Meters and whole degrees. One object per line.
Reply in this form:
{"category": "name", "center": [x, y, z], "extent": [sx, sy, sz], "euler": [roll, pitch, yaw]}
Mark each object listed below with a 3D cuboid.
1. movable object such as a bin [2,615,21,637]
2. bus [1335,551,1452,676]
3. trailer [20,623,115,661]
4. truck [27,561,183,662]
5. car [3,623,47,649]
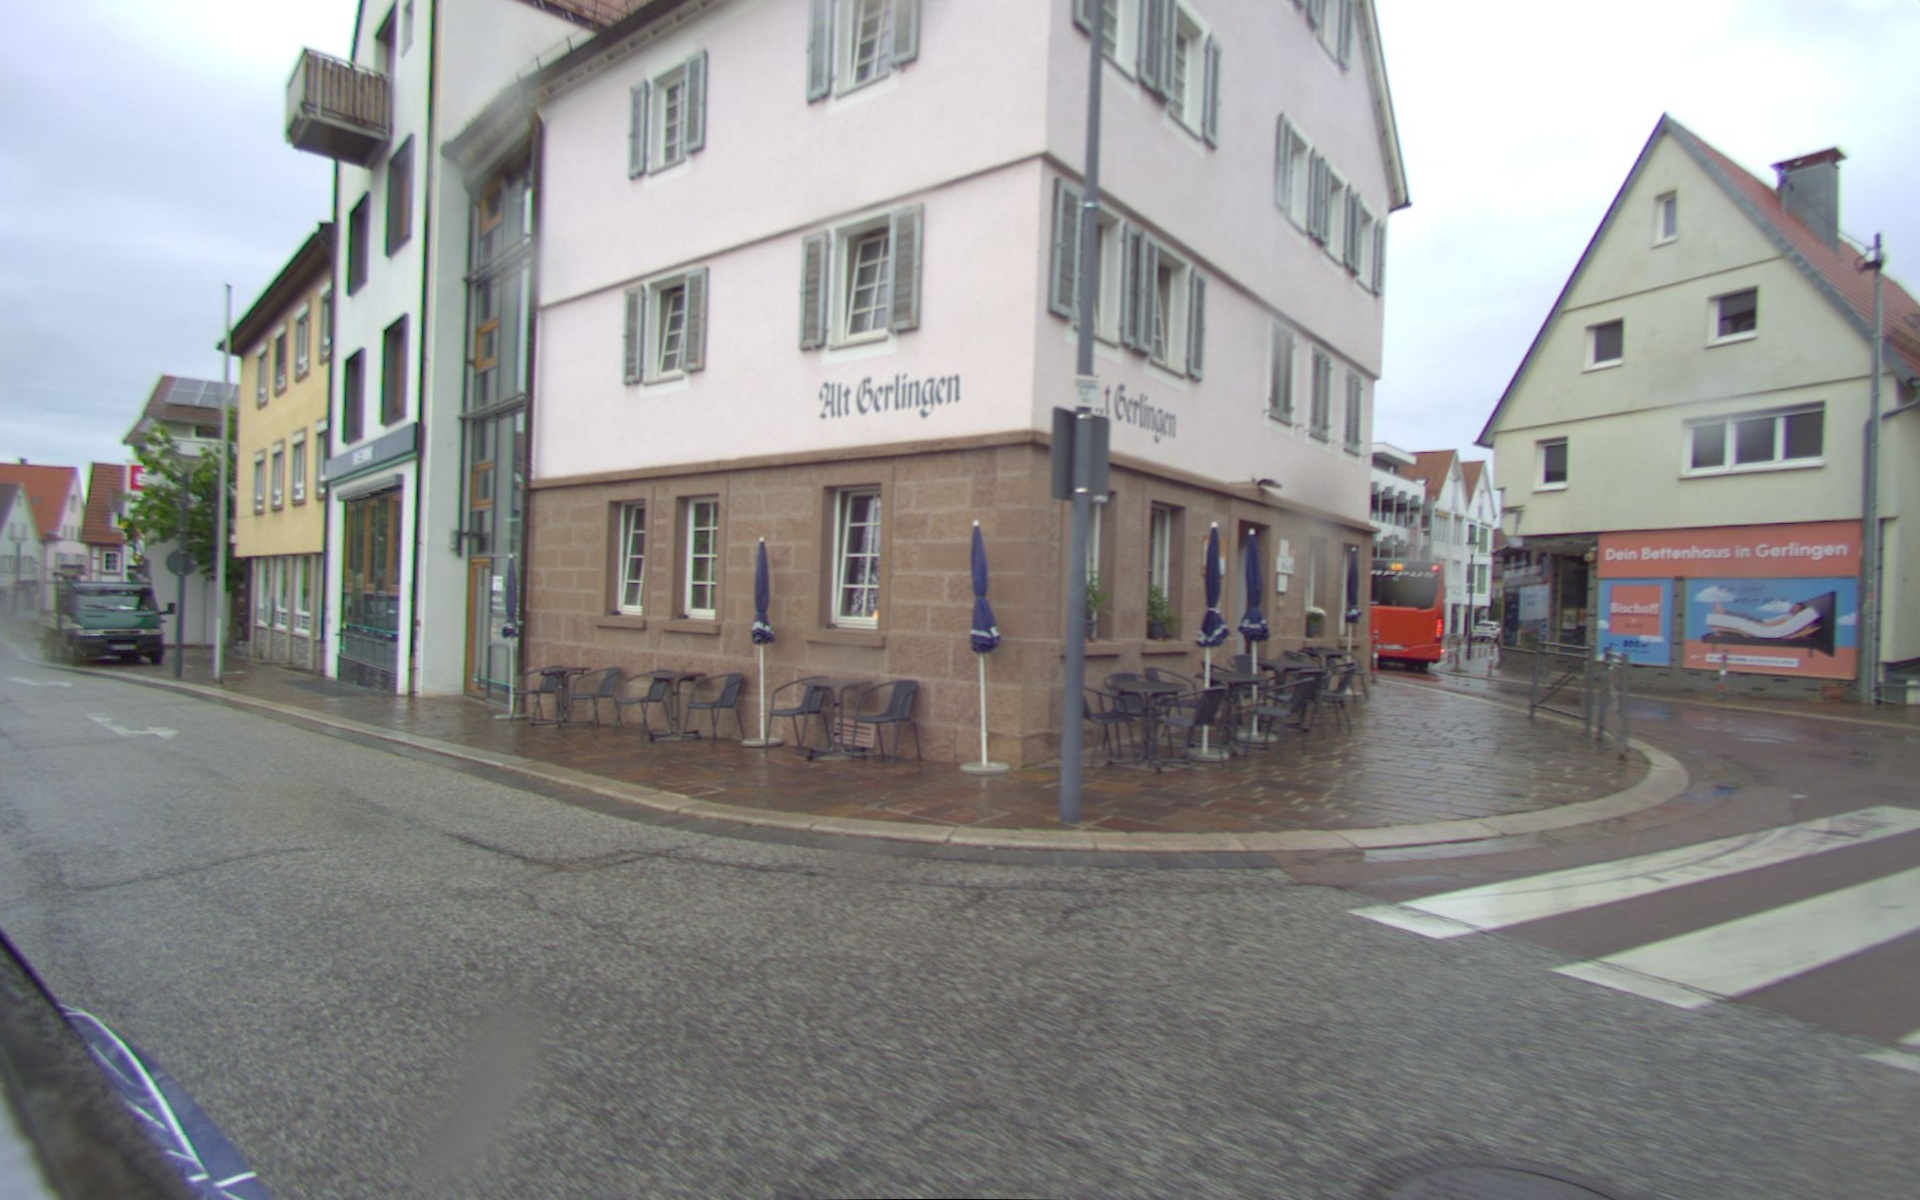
{"category": "movable object such as a bin", "center": [-48.056, 1.332, 51.275], "extent": [0.687, 1.085, 0.645], "euler": [0, 0, -44]}
{"category": "bus", "center": [13.505, 0.550, 32.108], "extent": [2.832, 3.283, 10.540], "euler": [1, -2, 21]}
{"category": "trailer", "center": [-28.466, 1.353, 32.264], "extent": [3.017, 1.133, 1.833], "euler": [-3, -3, 40]}
{"category": "truck", "center": [-24.800, 0.450, 29.253], "extent": [6.478, 2.615, 2.375], "euler": [-3, -3, 40]}
{"category": "car", "center": [-58.406, 2.215, 63.251], "extent": [1.780, 1.453, 4.007], "euler": [1, 0, -40]}
